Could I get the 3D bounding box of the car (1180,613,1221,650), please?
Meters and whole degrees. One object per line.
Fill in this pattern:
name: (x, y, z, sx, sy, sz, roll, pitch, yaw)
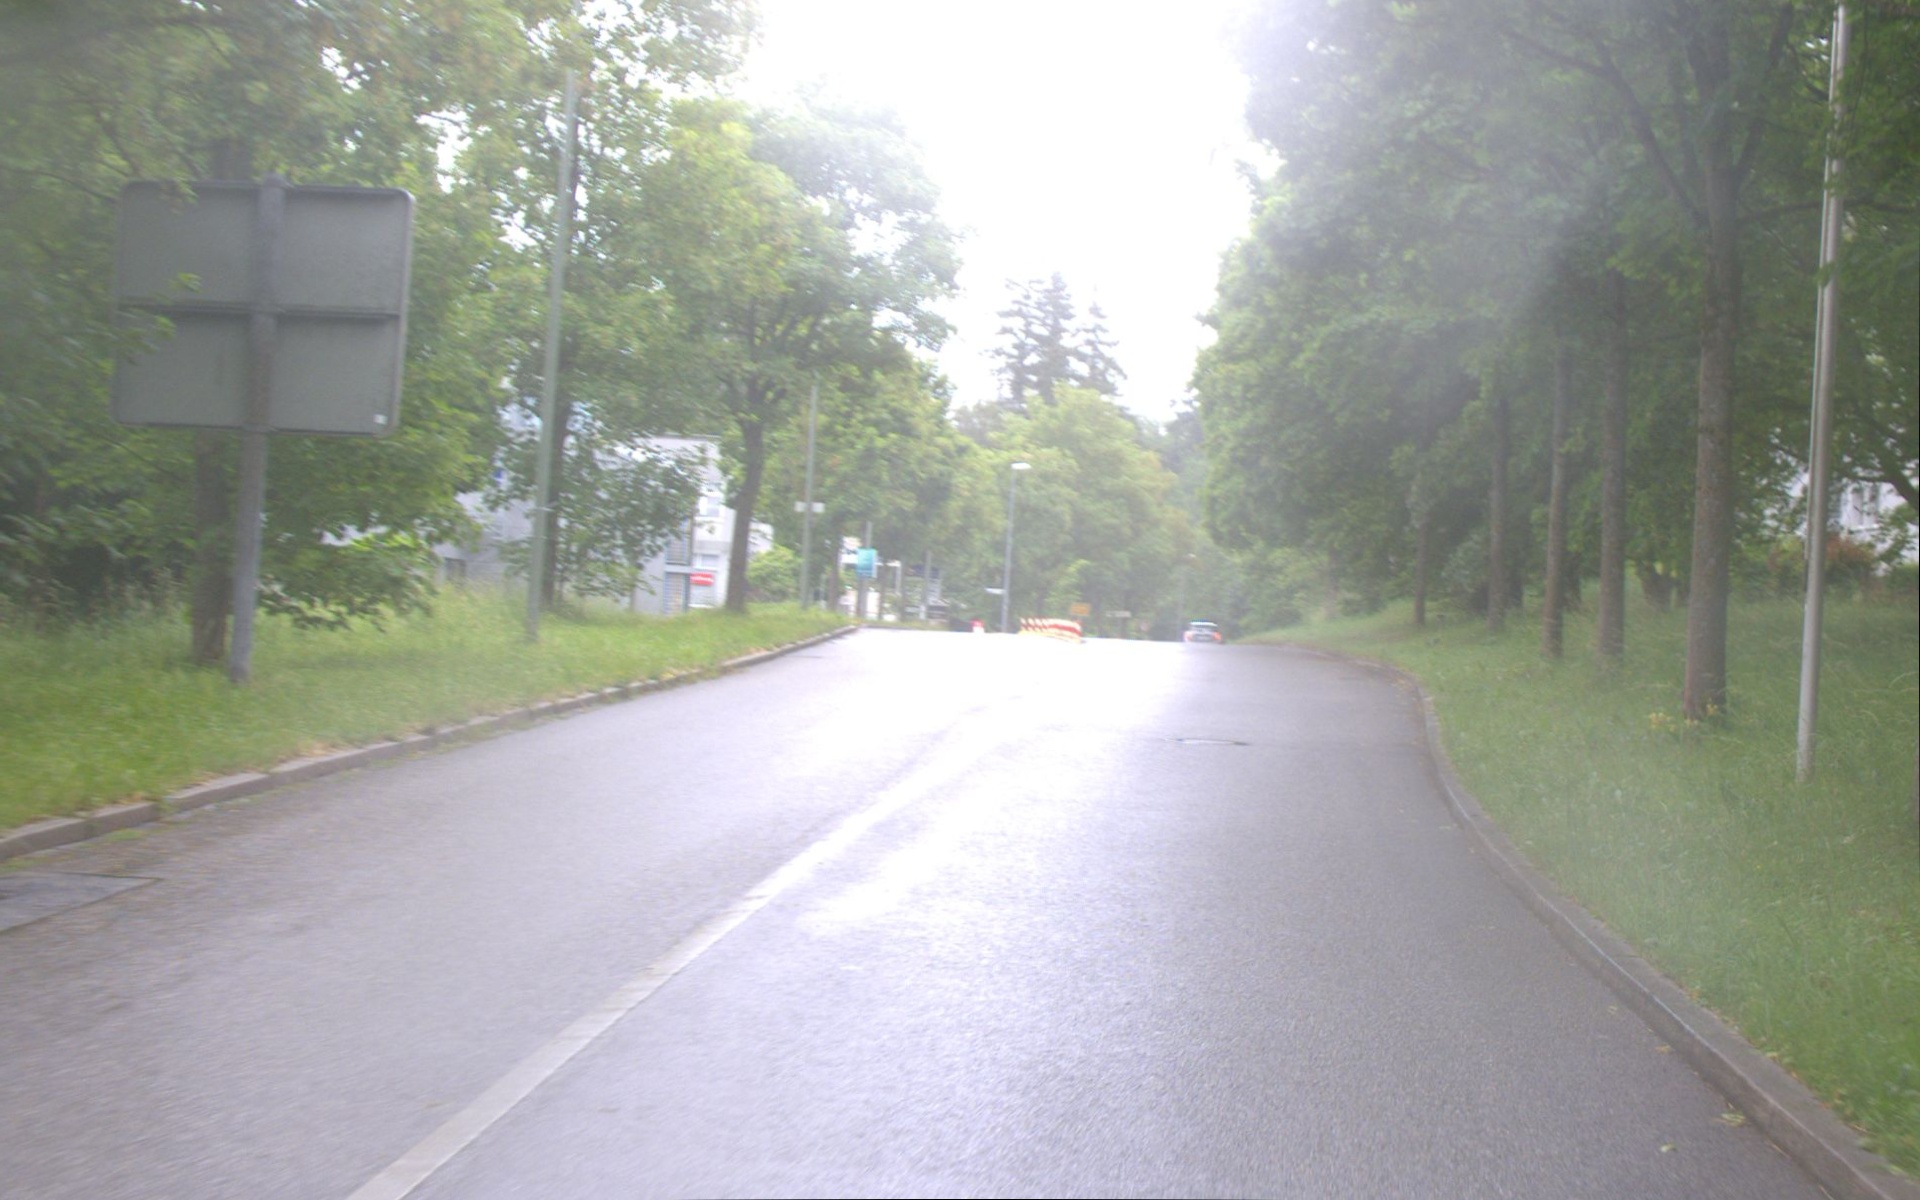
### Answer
car: (10.596, 1.392, 151.411, 1.737, 1.505, 3.999, 1, -1, 5)
